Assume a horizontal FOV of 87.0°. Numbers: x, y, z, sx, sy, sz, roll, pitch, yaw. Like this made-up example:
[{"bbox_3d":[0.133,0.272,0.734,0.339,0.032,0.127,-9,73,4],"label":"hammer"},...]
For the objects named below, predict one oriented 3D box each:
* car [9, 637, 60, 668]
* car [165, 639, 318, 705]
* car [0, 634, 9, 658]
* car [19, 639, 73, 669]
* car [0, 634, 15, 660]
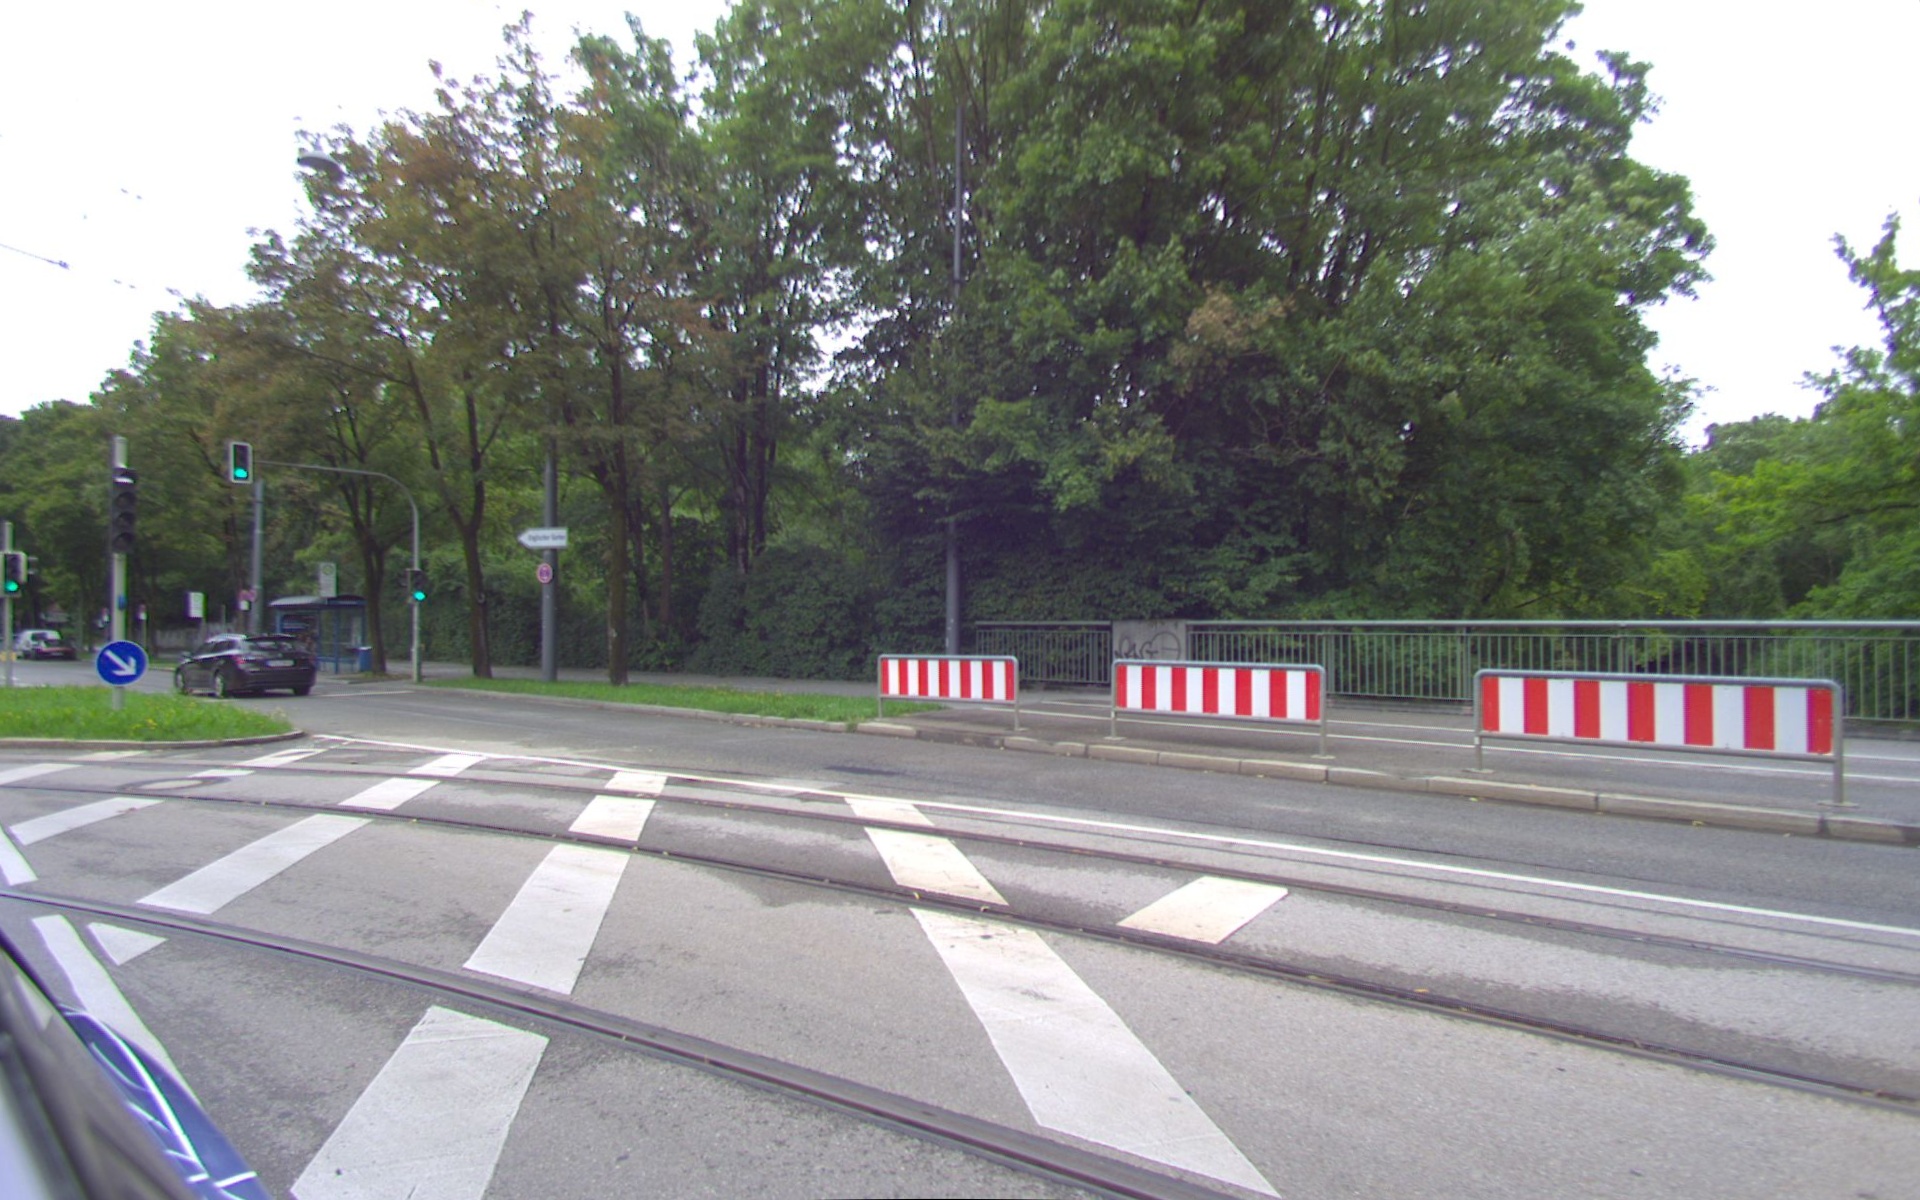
[{"bbox_3d":[-57.662,3.252,63.056,3.998,1.739,1.864,-1,0,41],"label":"car"},{"bbox_3d":[-16.775,1.631,23.541,4.834,1.399,1.607,-2,-4,39],"label":"car"},{"bbox_3d":[-72.813,3.481,75.808,3.998,1.739,1.864,-1,0,41],"label":"car"},{"bbox_3d":[-53.511,3.110,59.256,3.998,1.552,1.864,-1,0,41],"label":"car"},{"bbox_3d":[-69.061,3.366,72.289,3.998,1.739,1.864,-1,0,41],"label":"car"}]
